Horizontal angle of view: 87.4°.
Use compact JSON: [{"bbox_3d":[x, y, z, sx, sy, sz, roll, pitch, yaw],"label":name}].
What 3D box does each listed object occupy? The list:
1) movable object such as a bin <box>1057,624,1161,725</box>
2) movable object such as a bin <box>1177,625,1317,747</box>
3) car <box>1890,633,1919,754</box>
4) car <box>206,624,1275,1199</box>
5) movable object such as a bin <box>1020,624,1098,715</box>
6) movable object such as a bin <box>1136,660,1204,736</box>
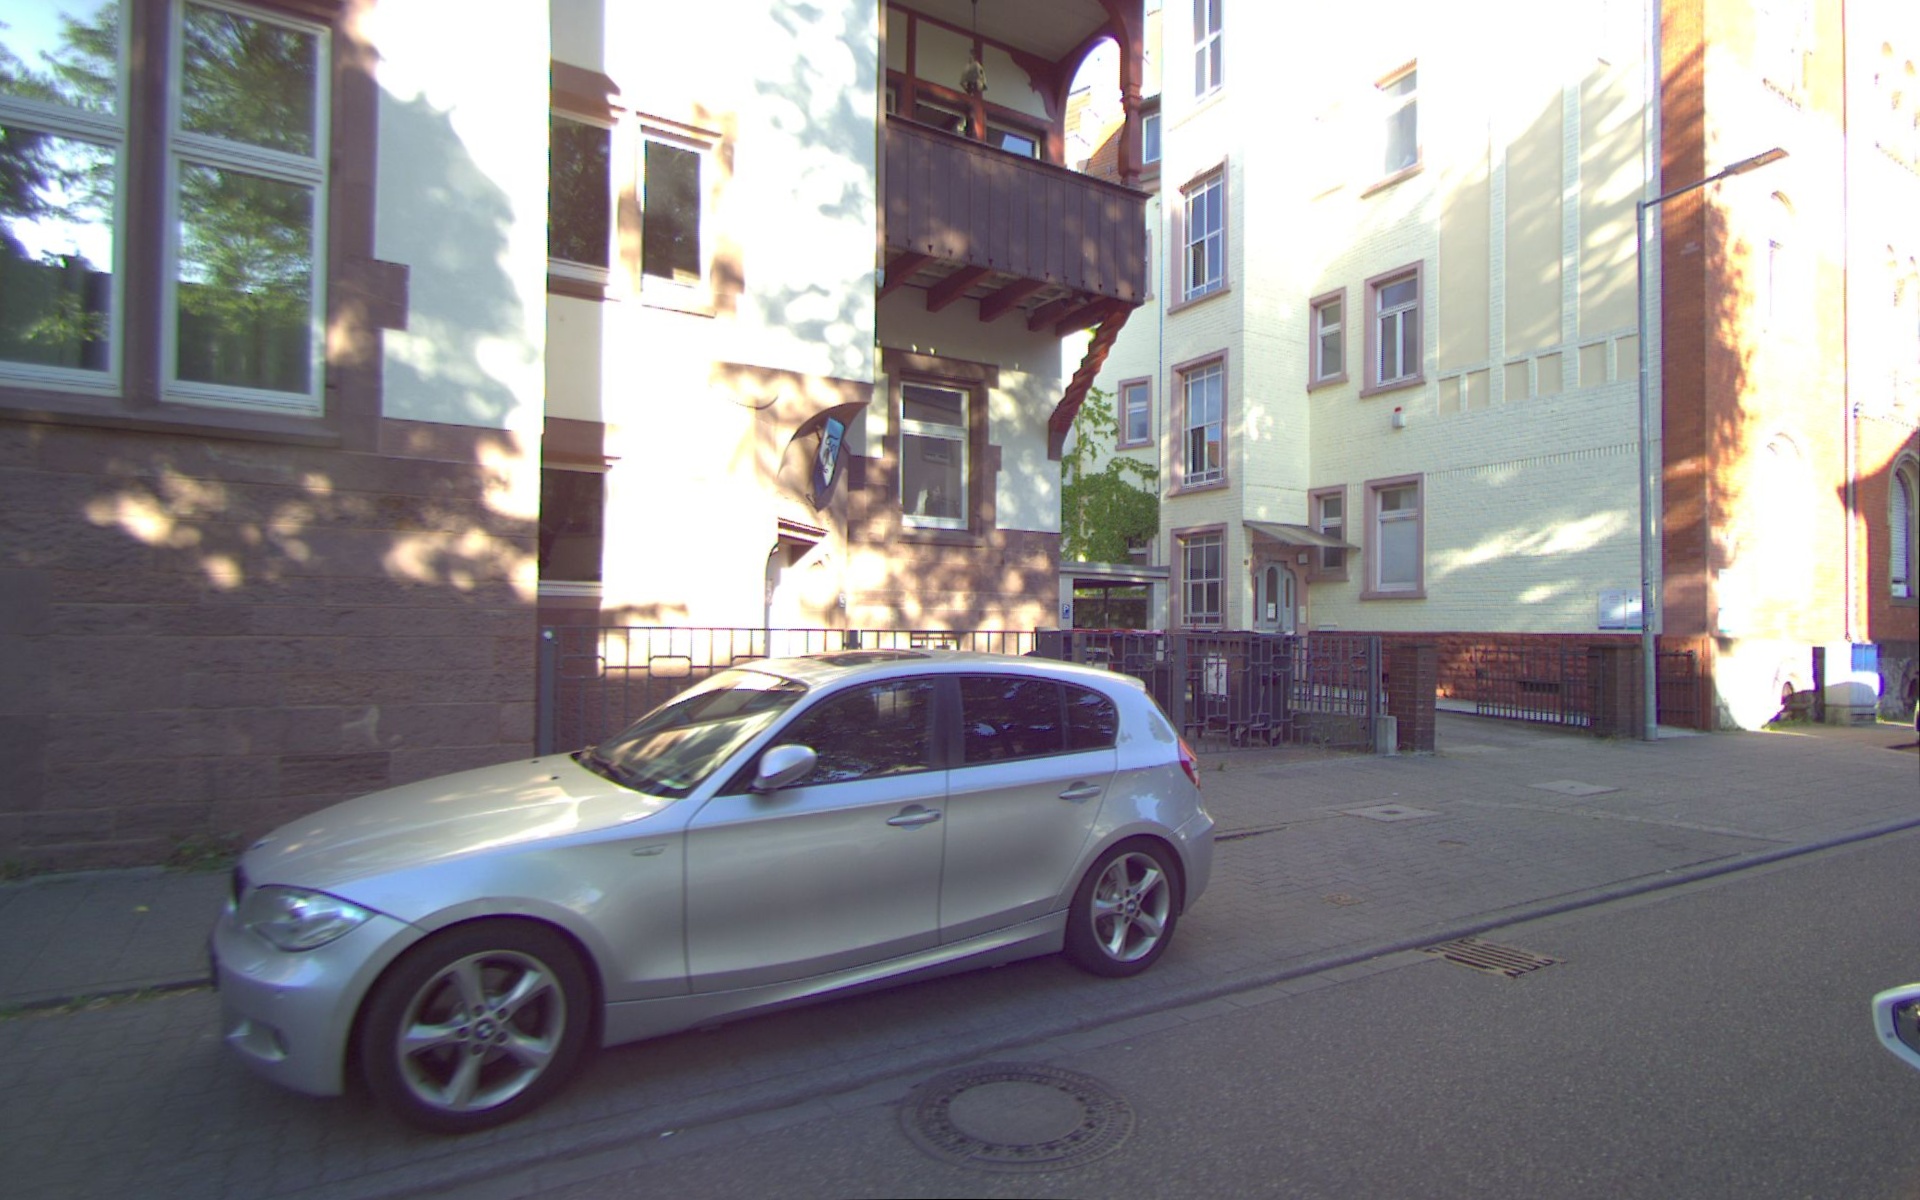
[{"bbox_3d":[2.080,1.015,14.177,0.680,1.335,1.370,2,-1,-37],"label":"movable object such as a bin"},{"bbox_3d":[3.321,0.962,11.743,0.954,1.316,1.374,1,-1,-20],"label":"movable object such as a bin"},{"bbox_3d":[13.992,1.239,13.102,3.753,1.505,1.697,2,0,-30],"label":"car"},{"bbox_3d":[-0.671,0.881,4.422,4.058,1.485,1.734,2,-1,-33],"label":"car"},{"bbox_3d":[1.501,1.033,15.317,0.623,1.327,1.196,1,-1,-28],"label":"movable object such as a bin"},{"bbox_3d":[2.560,1.181,12.263,0.662,0.890,0.480,1,-1,-21],"label":"movable object such as a bin"}]
